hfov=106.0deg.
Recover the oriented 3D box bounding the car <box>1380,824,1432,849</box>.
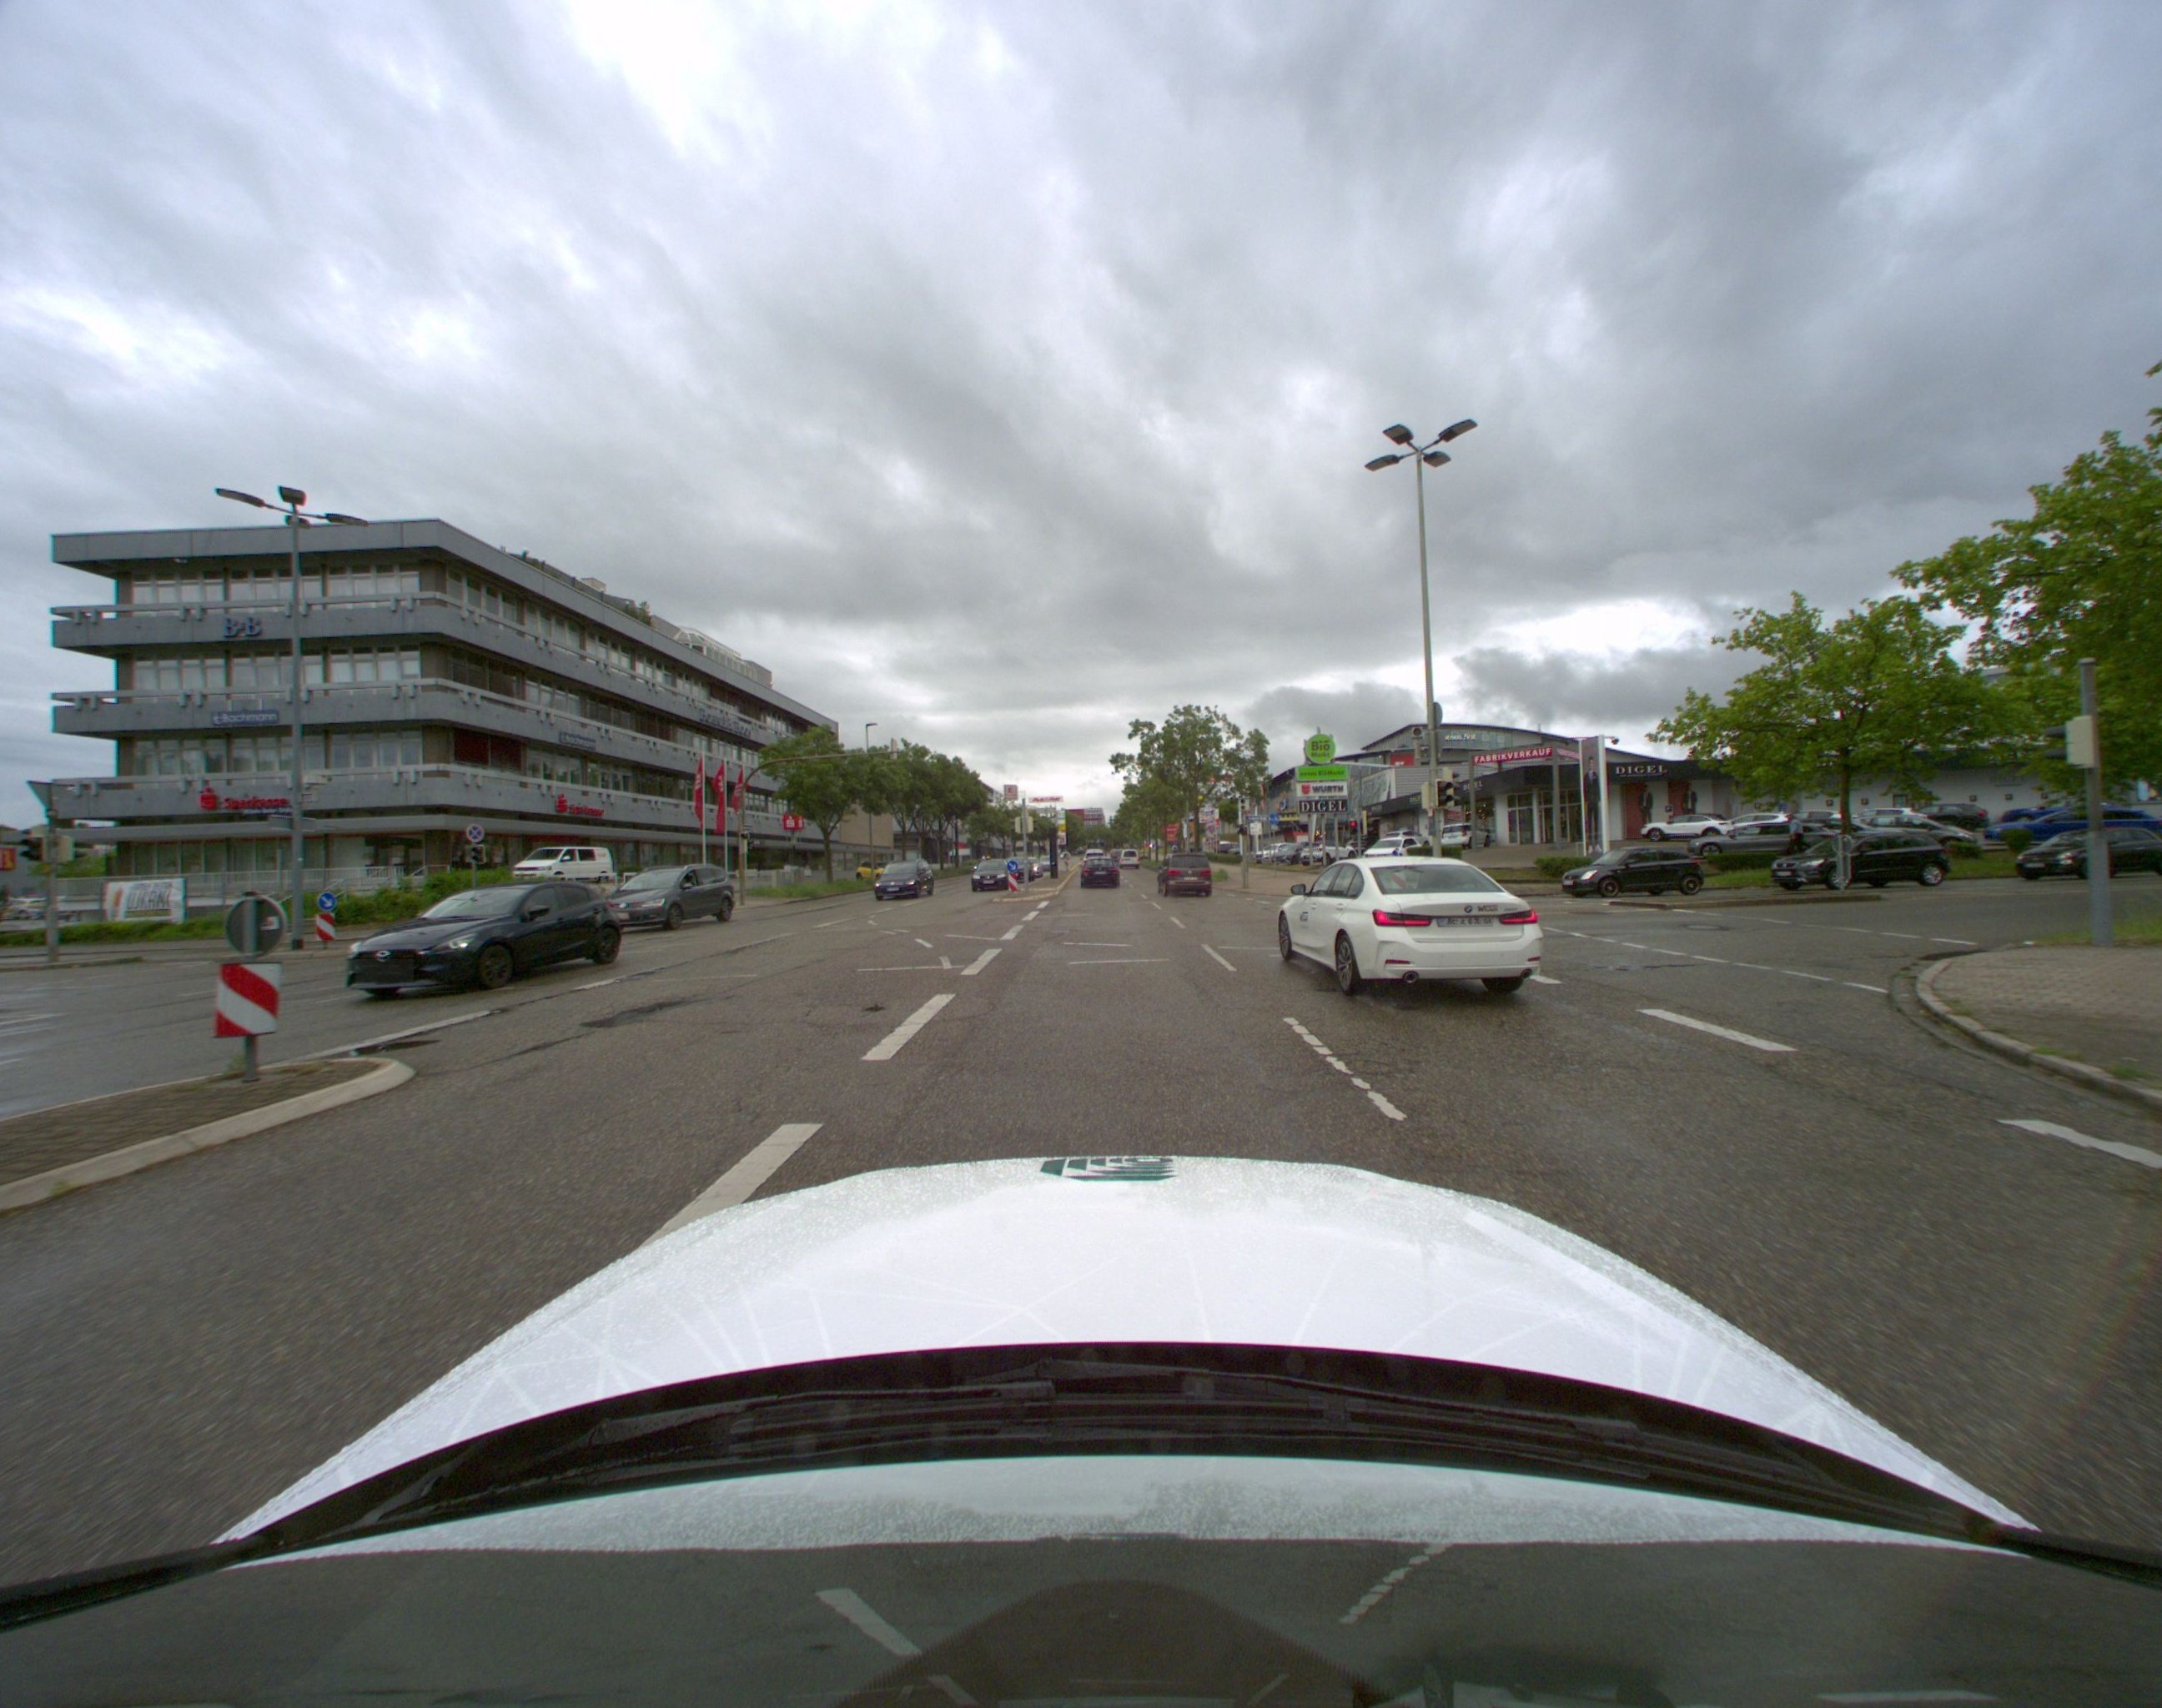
[{"bbox_3d":[24.567,-1.328,61.471,4.174,1.771,1.718,-2,0,-38],"label":"car"}]

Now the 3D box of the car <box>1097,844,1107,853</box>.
[{"bbox_3d":[3.501,-0.869,134.621,1.588,1.474,3.445,0,-1,1],"label":"car"}]

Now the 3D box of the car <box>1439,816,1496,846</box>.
[{"bbox_3d":[24.582,-1.454,51.794,4.177,1.771,1.717,-2,0,-42],"label":"car"}]

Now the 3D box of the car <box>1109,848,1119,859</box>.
[{"bbox_3d":[5.480,-0.090,135.913,1.688,1.442,3.993,-2,4,2],"label":"car"}]

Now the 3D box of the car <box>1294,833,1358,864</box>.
[{"bbox_3d":[15.902,-0.366,52.758,4.047,1.662,1.960,-5,1,-38],"label":"car"}]

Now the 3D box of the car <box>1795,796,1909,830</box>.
[{"bbox_3d":[40.592,-2.125,42.952,1.747,1.481,4.106,-2,0,-39],"label":"car"}]

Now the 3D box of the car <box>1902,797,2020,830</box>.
[{"bbox_3d":[46.710,-2.132,43.300,1.747,1.481,4.106,-2,0,-39],"label":"car"}]

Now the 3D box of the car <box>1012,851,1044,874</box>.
[{"bbox_3d":[-3.681,0.558,57.531,1.834,1.377,4.863,-5,0,0],"label":"car"}]

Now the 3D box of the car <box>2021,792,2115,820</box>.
[{"bbox_3d":[53.760,-2.598,44.406,1.548,1.270,3.208,-2,0,-39],"label":"car"}]

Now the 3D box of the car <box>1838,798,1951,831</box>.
[{"bbox_3d":[43.703,-2.109,43.808,1.747,1.481,4.106,-2,0,-39],"label":"car"}]

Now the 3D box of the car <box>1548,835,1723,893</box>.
[{"bbox_3d":[16.637,0.316,24.574,3.964,1.489,1.818,-3,-1,1],"label":"car"}]

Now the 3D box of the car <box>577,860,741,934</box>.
[{"bbox_3d":[-11.609,1.094,22.863,1.904,1.727,4.885,-2,0,1],"label":"car"}]

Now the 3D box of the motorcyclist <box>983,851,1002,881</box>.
[{"bbox_3d":[-4.731,0.606,43.558,0.804,1.559,1.267,-2,0,0],"label":"motorcyclist"}]

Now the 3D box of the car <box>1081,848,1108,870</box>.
[{"bbox_3d":[0.883,0.337,56.877,1.677,1.377,3.997,-2,0,-2],"label":"car"}]

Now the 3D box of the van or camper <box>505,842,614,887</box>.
[{"bbox_3d":[-24.705,0.510,38.837,1.986,1.967,4.789,0,-1,2],"label":"van or camper"}]

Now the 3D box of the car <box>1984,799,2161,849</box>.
[{"bbox_3d":[41.289,-1.180,33.909,2.011,1.793,4.868,2,-2,-43],"label":"car"}]

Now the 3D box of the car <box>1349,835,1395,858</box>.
[{"bbox_3d":[24.368,-0.653,68.150,3.995,1.720,1.615,-2,0,-38],"label":"car"}]

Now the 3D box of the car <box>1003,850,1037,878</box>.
[{"bbox_3d":[-3.638,0.573,48.967,1.740,1.489,4.825,-2,0,-2],"label":"car"}]

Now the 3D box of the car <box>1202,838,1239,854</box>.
[{"bbox_3d":[16.271,-0.931,95.193,4.088,1.703,1.803,-2,0,7],"label":"car"}]

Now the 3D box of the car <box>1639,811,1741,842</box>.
[{"bbox_3d":[33.260,-1.488,44.563,1.747,1.481,4.106,-2,0,-39],"label":"car"}]

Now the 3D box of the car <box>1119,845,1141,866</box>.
[{"bbox_3d":[4.565,0.170,76.263,1.775,1.866,4.001,-3,0,1],"label":"car"}]

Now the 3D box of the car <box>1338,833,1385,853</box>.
[{"bbox_3d":[24.716,-0.974,71.729,4.174,1.468,1.811,-3,0,-37],"label":"car"}]

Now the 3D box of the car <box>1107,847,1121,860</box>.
[{"bbox_3d":[4.285,-0.028,105.544,1.678,1.684,3.404,0,-1,2],"label":"car"}]

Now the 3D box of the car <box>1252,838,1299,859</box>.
[{"bbox_3d":[15.800,-0.434,66.217,3.616,1.536,1.776,-3,0,-38],"label":"car"}]

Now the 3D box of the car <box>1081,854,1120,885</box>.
[{"bbox_3d":[0.945,0.707,39.198,1.775,1.398,4.001,-1,0,1],"label":"car"}]

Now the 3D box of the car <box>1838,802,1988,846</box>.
[{"bbox_3d":[34.778,-1.193,34.131,2.009,1.579,4.179,1,-2,-38],"label":"car"}]

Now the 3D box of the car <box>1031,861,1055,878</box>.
[{"bbox_3d":[-3.513,1.392,75.939,1.717,1.398,4.790,-4,0,1],"label":"car"}]

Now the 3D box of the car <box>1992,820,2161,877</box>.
[{"bbox_3d":[30.369,-0.165,24.415,3.964,1.489,1.818,-3,-1,1],"label":"car"}]

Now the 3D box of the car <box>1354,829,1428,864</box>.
[{"bbox_3d":[15.488,-0.403,40.550,1.908,1.576,4.314,-3,0,43],"label":"car"}]

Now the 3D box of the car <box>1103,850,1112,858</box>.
[{"bbox_3d":[4.919,0.025,150.596,1.614,1.495,3.360,0,-1,1],"label":"car"}]

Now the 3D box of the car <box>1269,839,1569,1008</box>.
[{"bbox_3d":[3.641,0.652,9.807,1.795,1.544,4.621,0,0,1],"label":"car"}]

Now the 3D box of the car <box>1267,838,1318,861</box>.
[{"bbox_3d":[15.206,-0.323,58.523,3.616,1.536,1.625,-2,0,-38],"label":"car"}]

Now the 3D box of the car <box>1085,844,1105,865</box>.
[{"bbox_3d":[1.451,0.097,81.992,1.986,2.014,4.001,0,-1,2],"label":"car"}]

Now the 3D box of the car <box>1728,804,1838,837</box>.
[{"bbox_3d":[37.375,-1.769,43.455,1.745,1.481,4.109,-2,0,-35],"label":"car"}]

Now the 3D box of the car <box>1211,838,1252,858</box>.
[{"bbox_3d":[16.247,-0.622,88.021,4.093,1.904,1.801,-3,0,3],"label":"car"}]

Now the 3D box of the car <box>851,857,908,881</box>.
[{"bbox_3d":[-14.911,1.130,60.237,3.948,1.552,1.912,-3,0,36],"label":"car"}]

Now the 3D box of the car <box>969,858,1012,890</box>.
[{"bbox_3d":[-4.277,0.935,38.935,1.677,1.377,3.997,-2,0,-2],"label":"car"}]

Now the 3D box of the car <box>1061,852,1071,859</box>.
[{"bbox_3d":[-3.003,0.322,164.240,1.936,1.448,4.000,-1,0,1],"label":"car"}]

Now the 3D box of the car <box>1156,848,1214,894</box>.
[{"bbox_3d":[3.846,0.595,30.806,1.794,1.587,4.453,0,0,2],"label":"car"}]

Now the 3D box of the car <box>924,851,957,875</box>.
[{"bbox_3d":[-12.369,0.809,71.980,1.985,2.014,4.002,0,-1,2],"label":"car"}]

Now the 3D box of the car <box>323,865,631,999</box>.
[{"bbox_3d":[-8.771,1.014,12.349,1.706,1.580,3.997,-2,0,-2],"label":"car"}]

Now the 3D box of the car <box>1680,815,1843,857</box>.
[{"bbox_3d":[28.245,-0.732,33.935,2.011,1.486,4.948,-2,0,-43],"label":"car"}]

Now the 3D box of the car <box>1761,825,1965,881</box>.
[{"bbox_3d":[22.816,-0.003,23.906,4.118,1.548,1.741,0,-1,6],"label":"car"}]

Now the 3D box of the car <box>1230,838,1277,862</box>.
[{"bbox_3d":[16.263,-0.389,76.988,4.094,2.105,1.801,-2,0,3],"label":"car"}]

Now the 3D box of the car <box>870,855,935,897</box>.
[{"bbox_3d":[-7.643,0.896,35.277,1.906,1.608,4.360,-2,0,-2],"label":"car"}]

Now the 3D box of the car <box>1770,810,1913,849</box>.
[{"bbox_3d":[31.643,-0.980,33.982,1.992,1.380,4.106,1,-2,-38],"label":"car"}]
